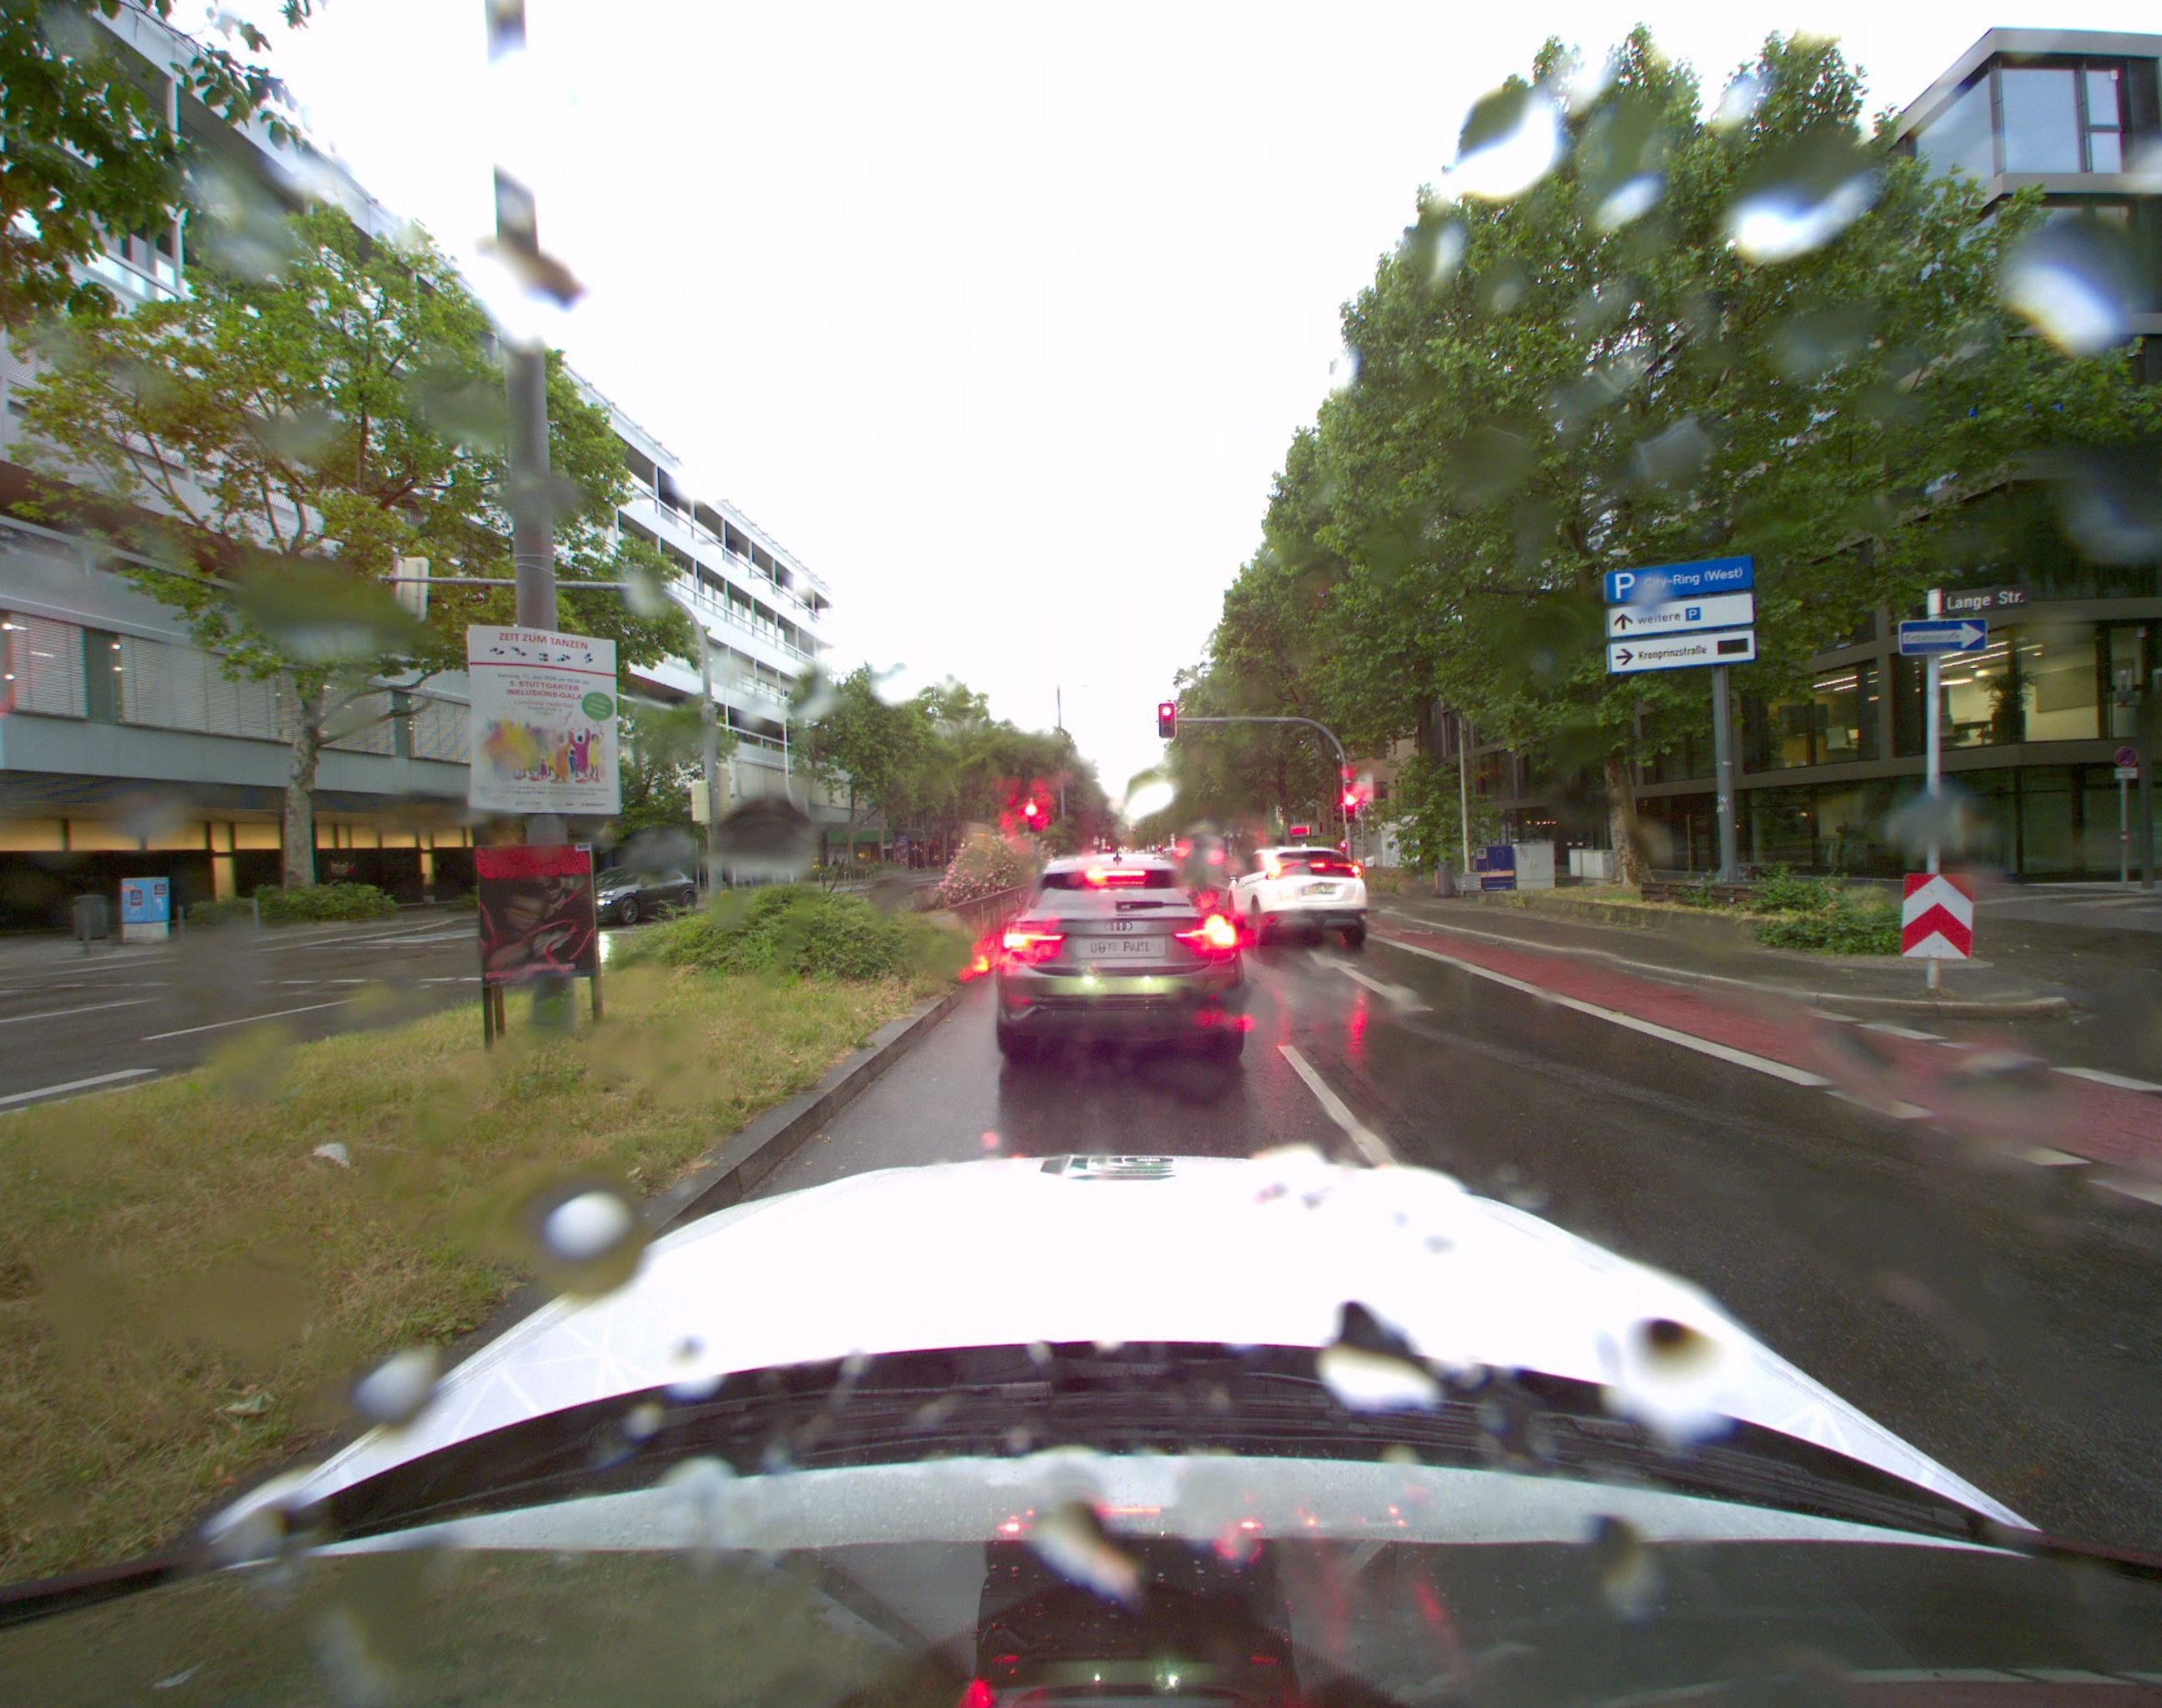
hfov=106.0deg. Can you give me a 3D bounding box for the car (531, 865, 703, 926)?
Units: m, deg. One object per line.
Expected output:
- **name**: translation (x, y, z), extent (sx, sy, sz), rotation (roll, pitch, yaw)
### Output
- **car**: translation (-13.361, 1.137, 23.873), extent (1.900, 1.584, 4.754), rotation (0, -1, 6)

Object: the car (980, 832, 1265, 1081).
- **car**: translation (0.330, 0.683, 7.366), extent (1.842, 1.602, 4.001), rotation (-1, 0, 2)

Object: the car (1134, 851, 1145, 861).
- **car**: translation (10.484, 0.347, 146.529), extent (1.985, 1.651, 4.003), rotation (0, -1, 3)

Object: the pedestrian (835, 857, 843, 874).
- **pedestrian**: translation (-21.676, 1.003, 72.929), extent (0.609, 1.482, 0.573), rotation (0, -1, -9)

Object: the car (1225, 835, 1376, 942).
- **car**: translation (3.850, 0.575, 15.000), extent (1.870, 1.697, 4.002), rotation (0, -1, 3)

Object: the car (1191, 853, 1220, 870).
- **car**: translation (10.415, 0.618, 68.452), extent (1.865, 1.421, 4.614), rotation (0, 0, 3)

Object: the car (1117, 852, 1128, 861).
- **car**: translation (7.159, 0.403, 140.885), extent (1.889, 1.599, 3.940), rotation (0, -1, 2)

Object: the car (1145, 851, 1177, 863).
- **car**: translation (12.549, 0.485, 128.102), extent (4.594, 1.706, 2.012), rotation (-1, -1, 30)

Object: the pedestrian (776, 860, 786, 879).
- **pedestrian**: translation (-22.054, 1.146, 59.826), extent (0.637, 1.380, 0.473), rotation (0, -1, -9)

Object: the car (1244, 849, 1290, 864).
- **car**: translation (13.337, 0.204, 58.336), extent (2.856, 1.074, 1.465), rotation (-1, -1, 33)

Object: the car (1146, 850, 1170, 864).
- **car**: translation (9.618, 0.345, 102.283), extent (1.993, 1.726, 3.986), rotation (0, -1, -10)

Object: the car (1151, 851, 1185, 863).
- **car**: translation (13.157, 0.445, 123.055), extent (4.594, 1.706, 2.012), rotation (-1, -1, 30)

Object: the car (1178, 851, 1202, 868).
- **car**: translation (10.602, 0.560, 79.249), extent (1.723, 1.571, 4.070), rotation (0, -1, -2)

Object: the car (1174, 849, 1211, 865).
- **car**: translation (14.926, 0.399, 108.924), extent (4.548, 2.014, 1.980), rotation (-1, -1, 41)
